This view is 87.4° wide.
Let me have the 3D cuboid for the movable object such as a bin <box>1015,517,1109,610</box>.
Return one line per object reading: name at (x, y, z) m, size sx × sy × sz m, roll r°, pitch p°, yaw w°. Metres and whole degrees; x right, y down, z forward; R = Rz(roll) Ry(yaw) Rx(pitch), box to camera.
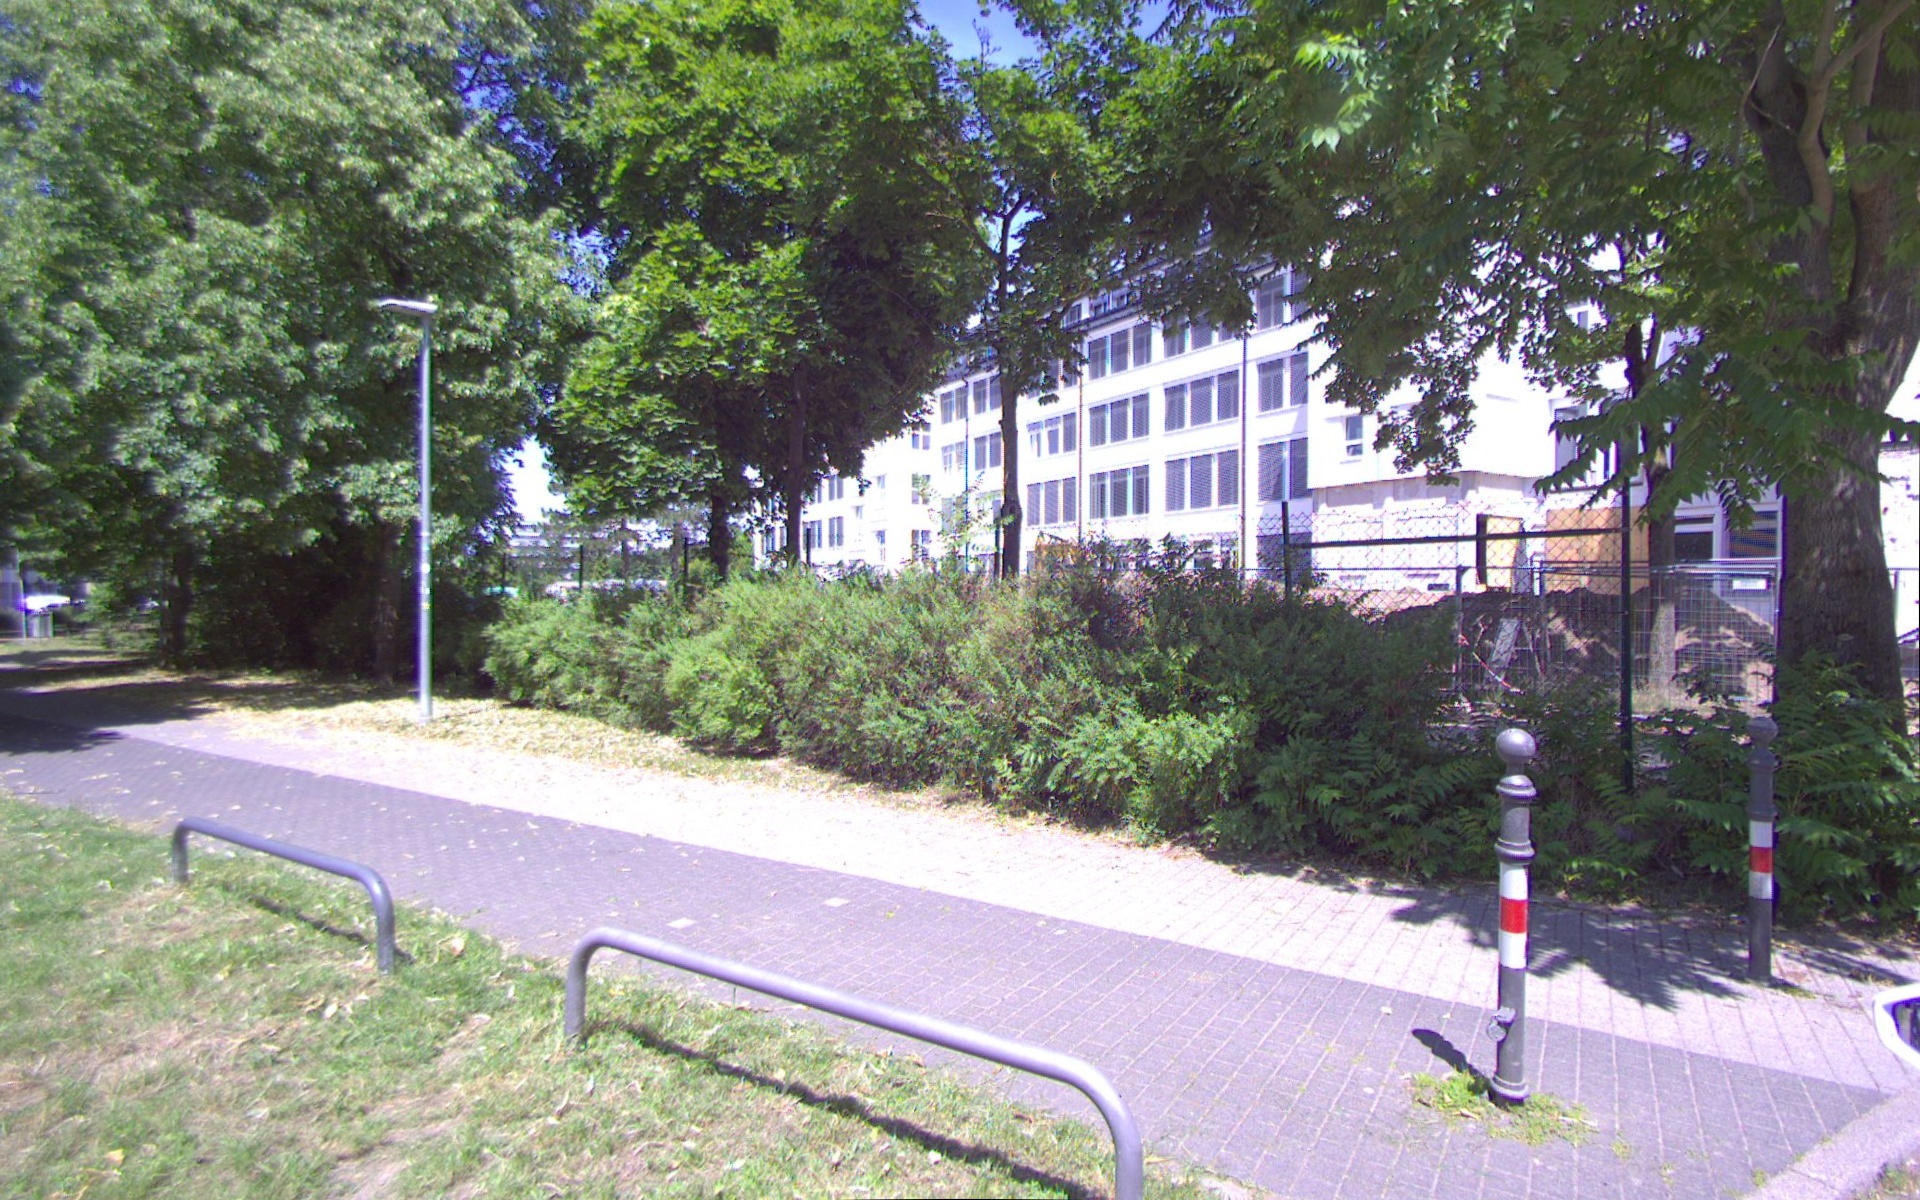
movable object such as a bin at (5.099, -1.752, 51.033) m, size 1.974 × 4.430 × 5.684 m, roll 1°, pitch 0°, yaw -27°
